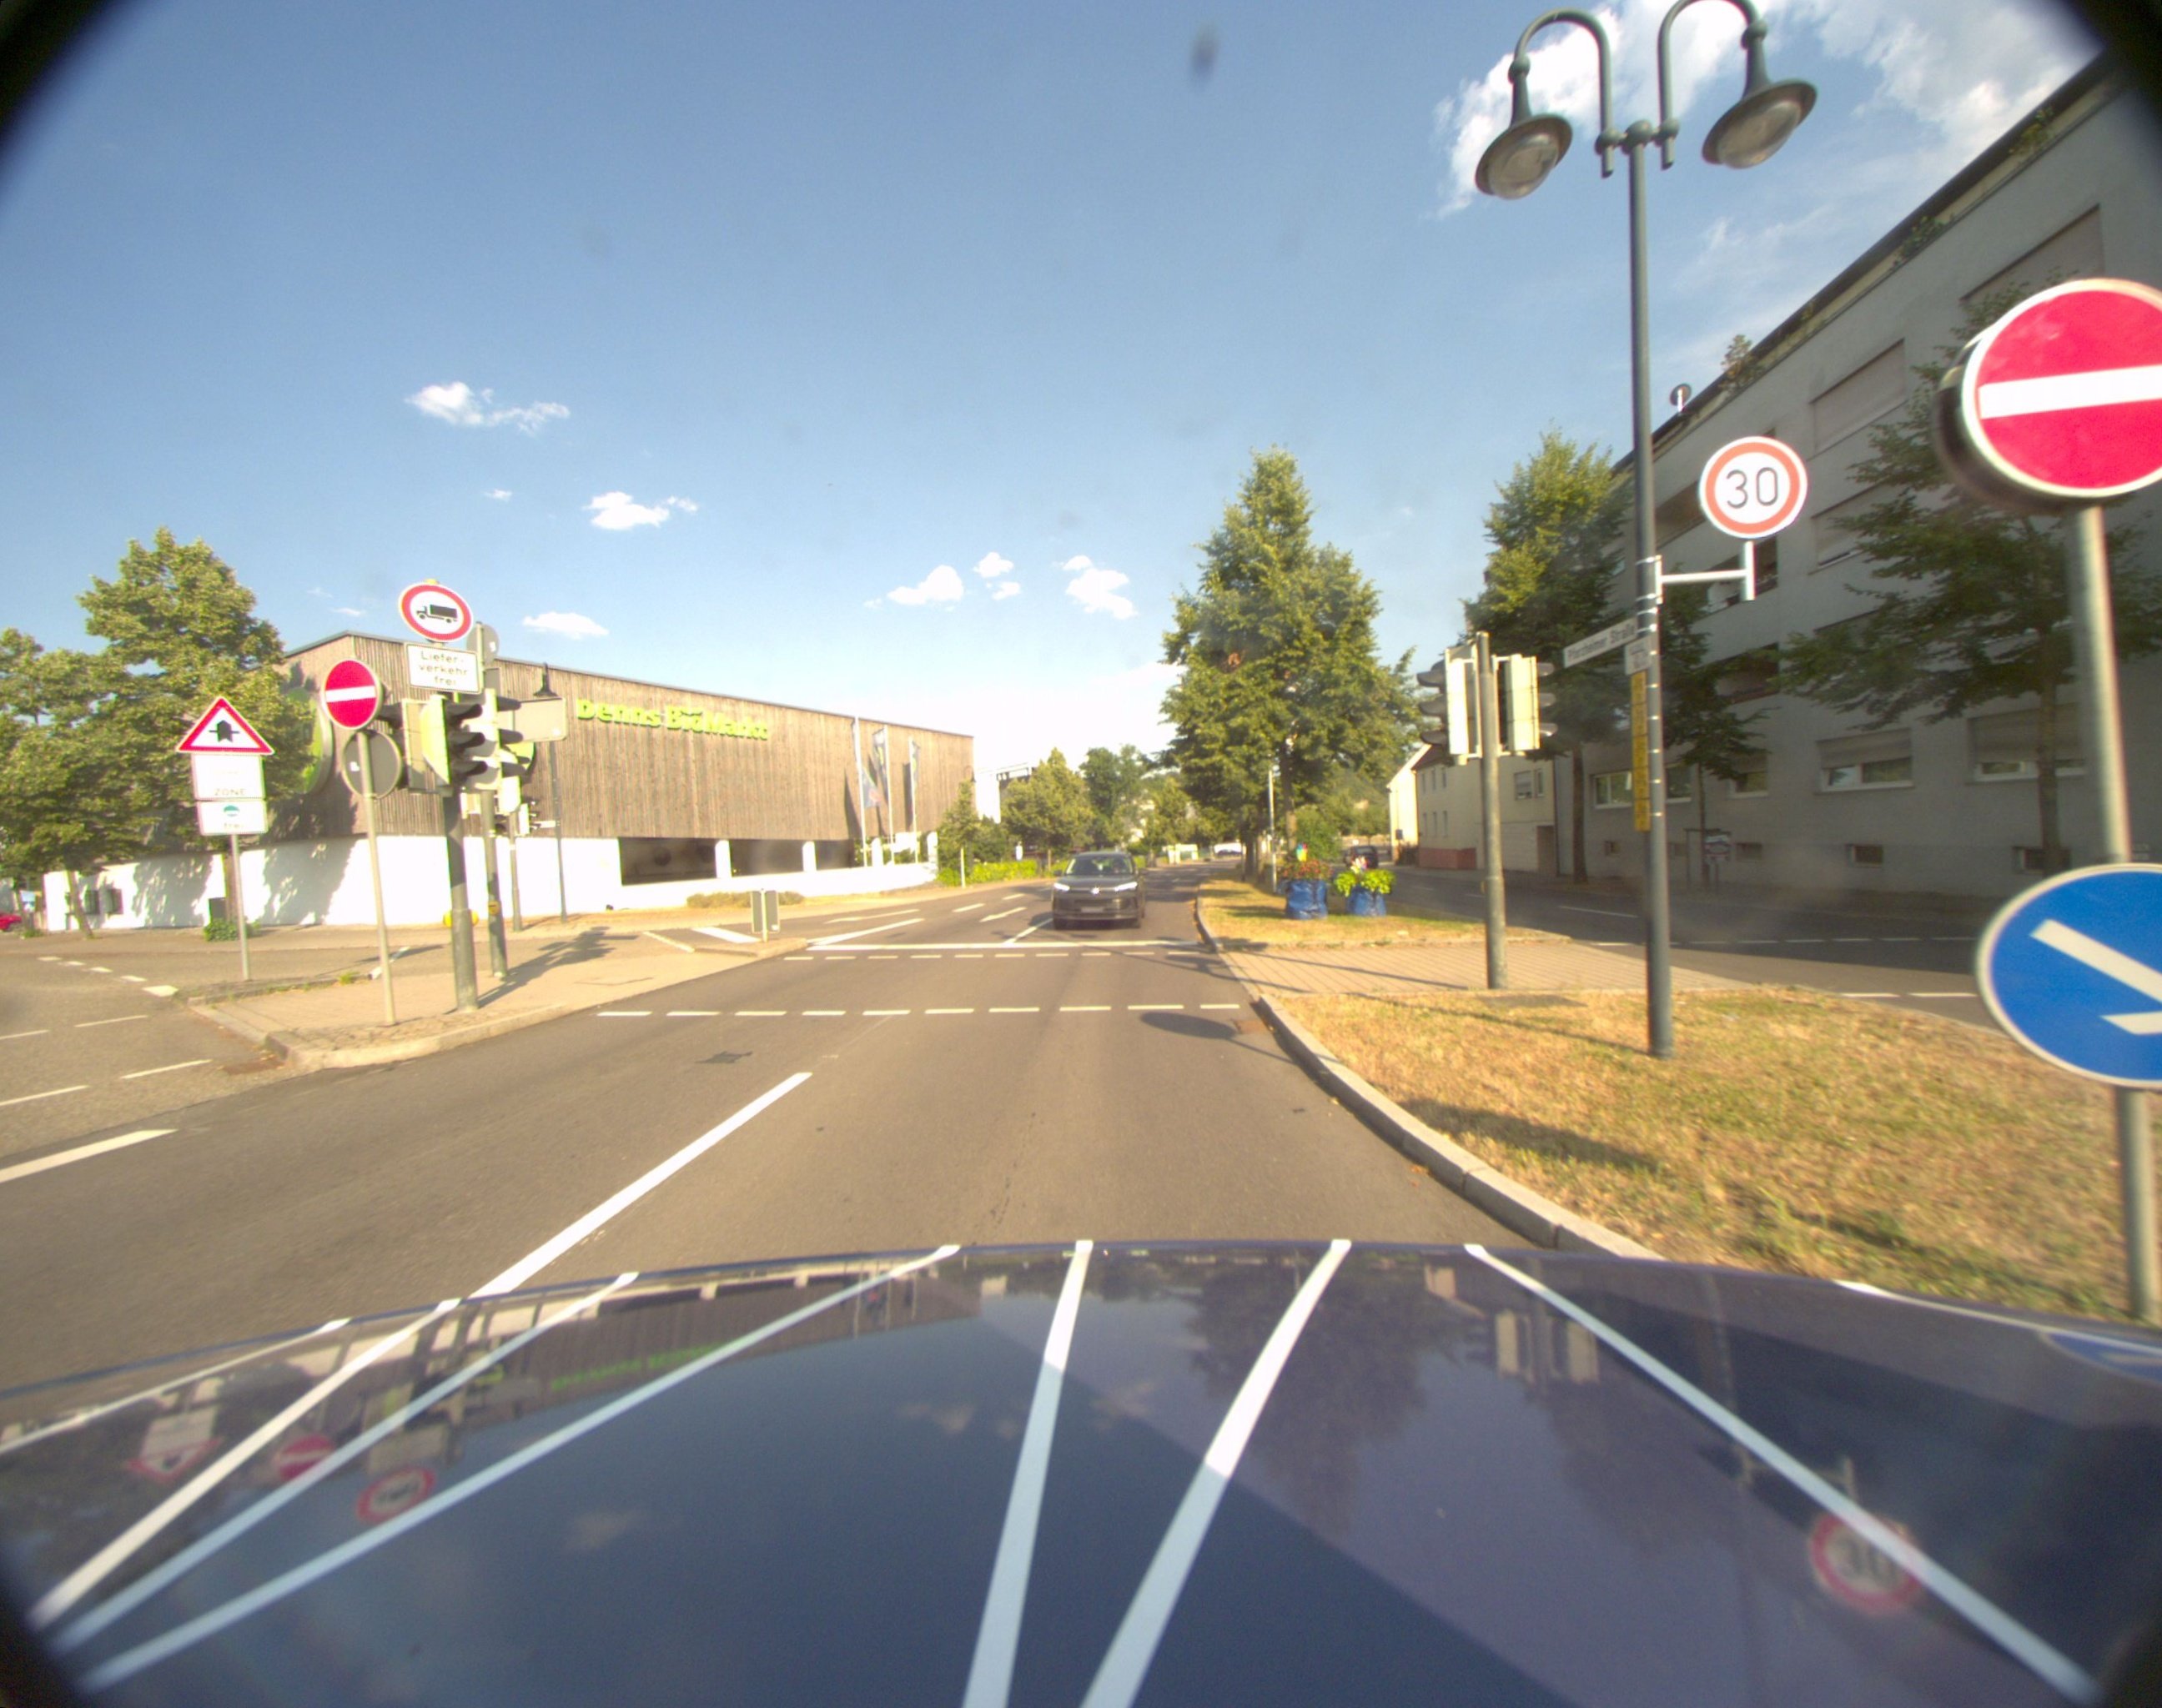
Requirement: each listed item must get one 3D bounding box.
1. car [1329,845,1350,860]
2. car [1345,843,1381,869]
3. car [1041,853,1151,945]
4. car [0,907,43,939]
[{"bbox_3d":[27.302,-0.162,80.423,1.855,1.477,5.001,-1,1,17],"label":"car"},{"bbox_3d":[19.825,0.097,53.537,1.855,1.726,4.927,-1,1,15],"label":"car"},{"bbox_3d":[0.461,0.840,16.234,1.724,1.605,4.263,-1,1,9],"label":"car"},{"bbox_3d":[-63.098,4.041,43.296,1.890,1.713,4.323,-2,0,26],"label":"car"}]
